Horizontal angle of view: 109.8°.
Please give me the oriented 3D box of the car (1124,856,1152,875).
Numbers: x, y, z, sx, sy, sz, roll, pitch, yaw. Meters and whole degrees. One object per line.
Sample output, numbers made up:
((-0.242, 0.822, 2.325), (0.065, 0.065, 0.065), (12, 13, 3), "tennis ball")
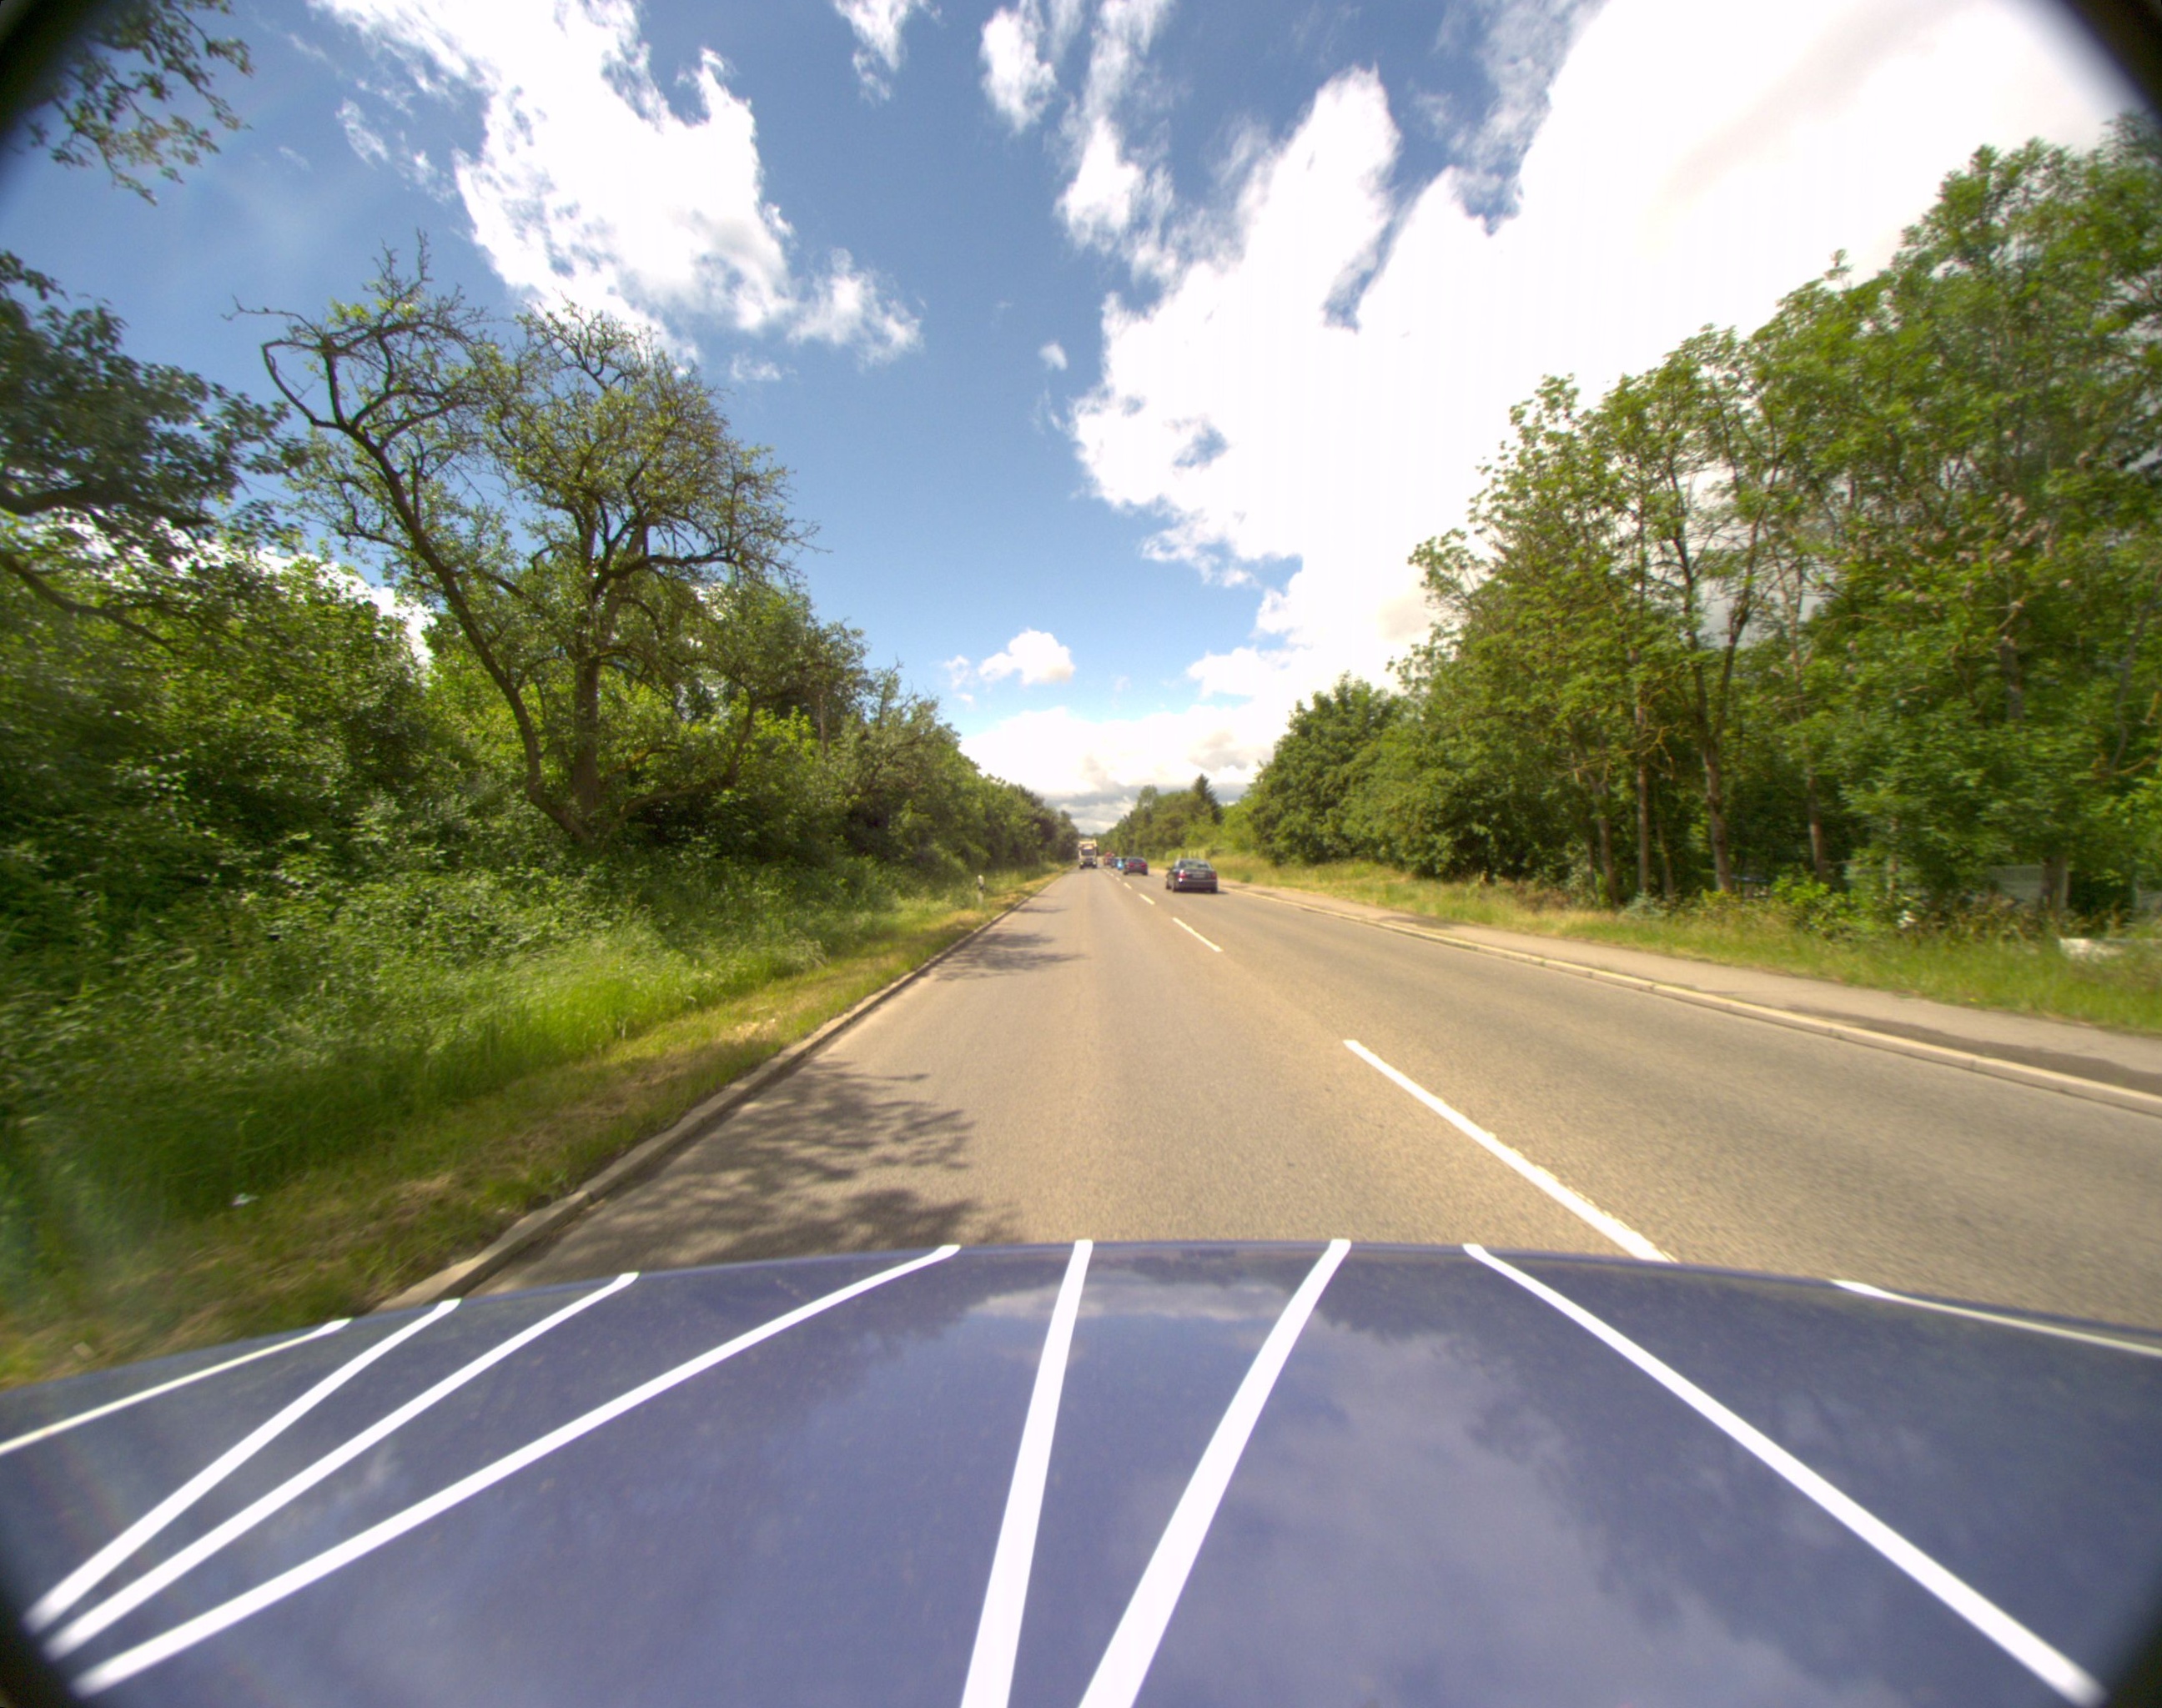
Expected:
((4.627, 0.953, 62.434), (1.889, 1.483, 4.717), (1, 0, -1), "car")

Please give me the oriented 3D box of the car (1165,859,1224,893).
((4.793, 0.896, 32.694), (1.789, 1.326, 4.622), (1, 0, -1), "car")

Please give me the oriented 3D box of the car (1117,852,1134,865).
((5.123, 0.561, 88.196), (1.789, 1.438, 2.966), (1, 0, -1), "car")

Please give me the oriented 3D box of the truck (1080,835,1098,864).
((1.138, -0.592, 108.072), (2.306, 3.789, 8.183), (-3, 0, 0), "truck")

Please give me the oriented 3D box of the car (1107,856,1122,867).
((4.626, 1.046, 105.672), (1.789, 1.438, 4.452), (1, 0, -1), "car")

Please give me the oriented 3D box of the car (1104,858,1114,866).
((5.303, 1.553, 142.621), (1.720, 1.462, 4.000), (1, 0, 0), "car")
